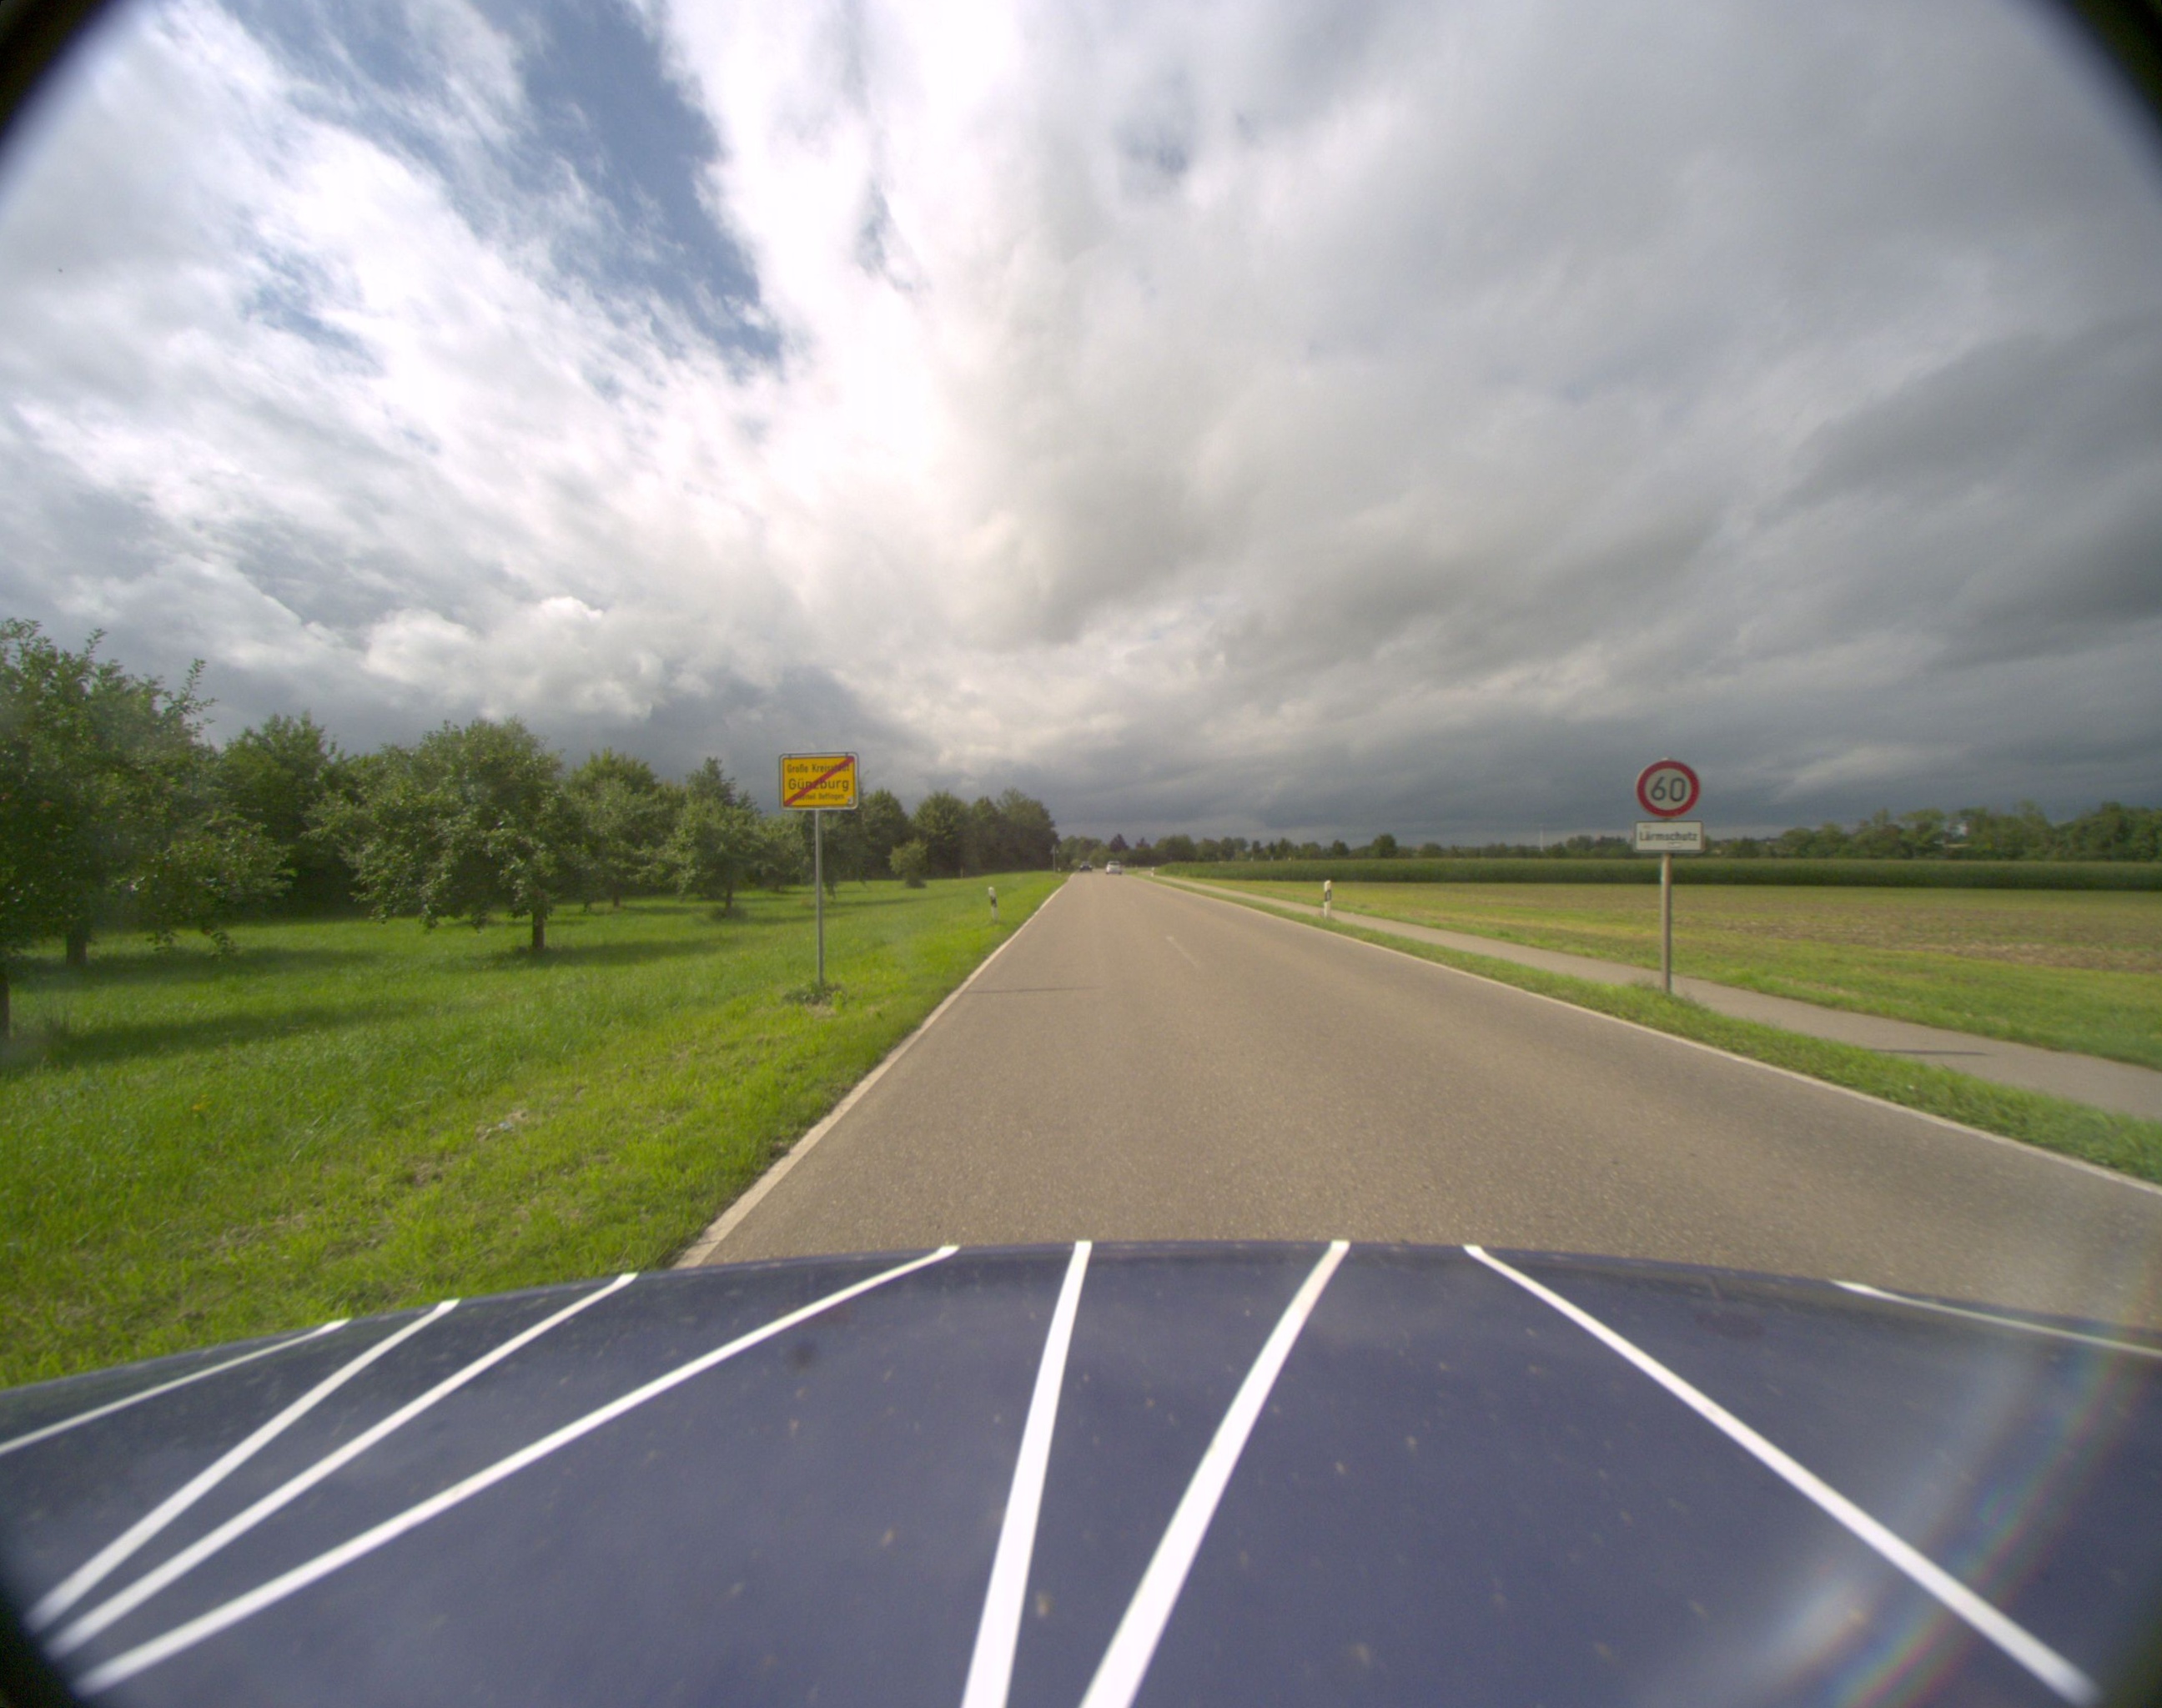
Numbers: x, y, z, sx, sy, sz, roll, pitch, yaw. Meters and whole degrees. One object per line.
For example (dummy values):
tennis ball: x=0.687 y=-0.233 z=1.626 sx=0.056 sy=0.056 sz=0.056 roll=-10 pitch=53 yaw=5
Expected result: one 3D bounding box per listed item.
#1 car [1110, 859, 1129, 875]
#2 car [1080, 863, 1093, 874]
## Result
car: x=4.407 y=1.458 z=87.835 sx=2.087 sy=1.716 sz=4.561 roll=0 pitch=0 yaw=1
car: x=0.848 y=2.300 z=119.968 sx=1.998 sy=1.594 sz=4.000 roll=-2 pitch=0 yaw=0
